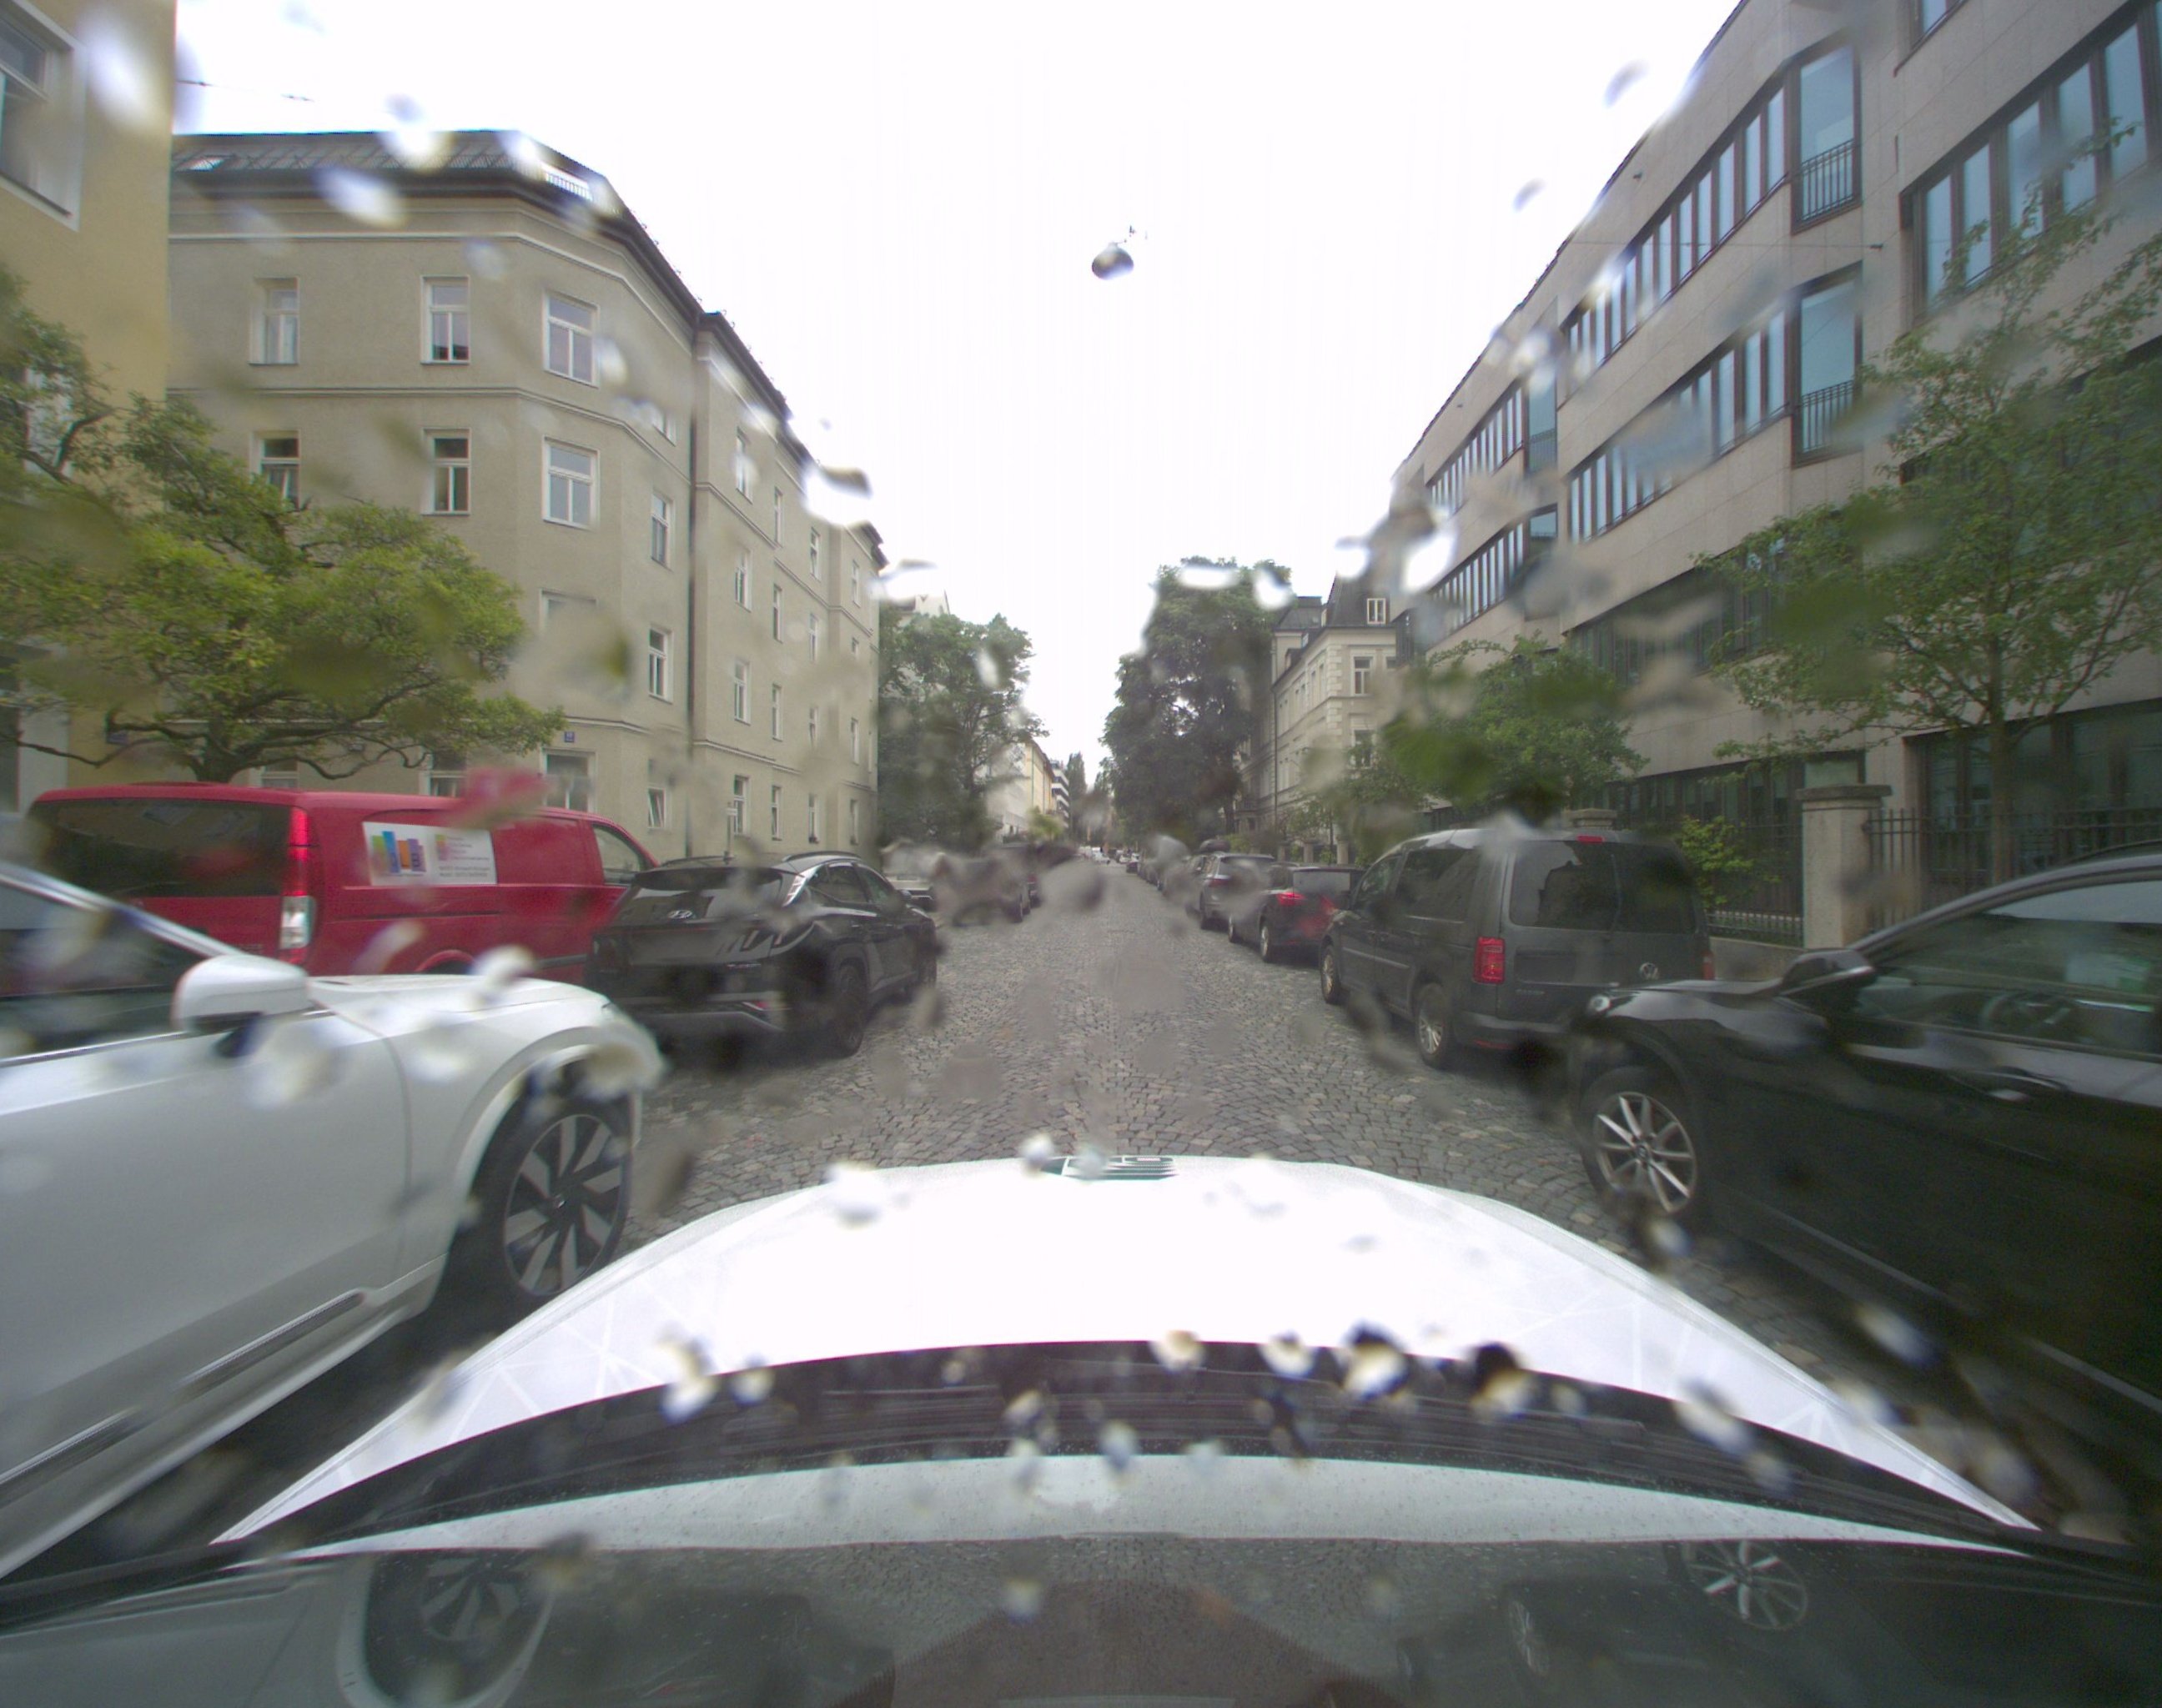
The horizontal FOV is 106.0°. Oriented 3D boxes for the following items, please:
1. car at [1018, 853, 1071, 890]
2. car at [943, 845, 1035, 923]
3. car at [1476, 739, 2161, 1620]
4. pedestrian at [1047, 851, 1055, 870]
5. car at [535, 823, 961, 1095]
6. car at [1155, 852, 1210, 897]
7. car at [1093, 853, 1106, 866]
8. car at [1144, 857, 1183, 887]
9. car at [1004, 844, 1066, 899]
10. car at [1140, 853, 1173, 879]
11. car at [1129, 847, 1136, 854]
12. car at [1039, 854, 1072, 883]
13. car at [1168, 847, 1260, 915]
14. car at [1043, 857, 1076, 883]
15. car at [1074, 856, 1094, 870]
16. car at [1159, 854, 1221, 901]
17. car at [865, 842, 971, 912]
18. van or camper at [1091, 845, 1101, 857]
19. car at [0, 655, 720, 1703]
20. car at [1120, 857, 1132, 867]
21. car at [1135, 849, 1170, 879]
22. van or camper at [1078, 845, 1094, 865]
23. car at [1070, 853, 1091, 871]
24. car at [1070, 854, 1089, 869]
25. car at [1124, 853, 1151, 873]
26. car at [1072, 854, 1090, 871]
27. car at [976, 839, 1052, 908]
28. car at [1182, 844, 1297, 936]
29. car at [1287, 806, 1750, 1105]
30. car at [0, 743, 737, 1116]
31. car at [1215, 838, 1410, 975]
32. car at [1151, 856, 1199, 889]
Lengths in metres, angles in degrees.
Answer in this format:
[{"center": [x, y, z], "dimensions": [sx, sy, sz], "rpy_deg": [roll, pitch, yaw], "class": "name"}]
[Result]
[{"center": [-1.636, 0.768, 38.063], "dimensions": [1.970, 1.561, 5.021], "rpy_deg": [-1, 0, 3], "class": "car"}, {"center": [-2.249, 0.706, 21.029], "dimensions": [1.860, 1.735, 4.402], "rpy_deg": [-2, 0, -1], "class": "car"}, {"center": [3.061, 0.674, 2.063], "dimensions": [1.853, 1.702, 4.815], "rpy_deg": [3, 0, 2], "class": "car"}, {"center": [-3.094, 0.662, 84.148], "dimensions": [0.789, 1.917, 0.759], "rpy_deg": [1, 0, 1], "class": "pedestrian"}, {"center": [-2.628, 0.728, 7.923], "dimensions": [1.910, 1.735, 4.758], "rpy_deg": [-4, 0, 2], "class": "car"}, {"center": [4.214, 0.827, 34.455], "dimensions": [1.866, 1.670, 4.659], "rpy_deg": [3, 0, 2], "class": "car"}, {"center": [2.820, 0.829, 123.718], "dimensions": [1.985, 2.014, 4.002], "rpy_deg": [0, 0, 2], "class": "car"}, {"center": [4.463, 0.936, 44.461], "dimensions": [1.707, 1.472, 4.269], "rpy_deg": [3, 0, 1], "class": "car"}, {"center": [-1.723, 0.642, 32.376], "dimensions": [1.986, 1.917, 5.178], "rpy_deg": [-3, 0, 1], "class": "car"}, {"center": [4.717, 0.743, 51.529], "dimensions": [1.829, 1.490, 4.424], "rpy_deg": [3, 0, 3], "class": "car"}, {"center": [14.878, -0.988, 233.707], "dimensions": [1.985, 2.014, 4.002], "rpy_deg": [1, -1, 2], "class": "car"}, {"center": [-1.326, 0.755, 43.088], "dimensions": [1.657, 1.444, 4.169], "rpy_deg": [-1, 0, -1], "class": "car"}, {"center": [3.837, 0.738, 24.346], "dimensions": [1.867, 1.735, 4.746], "rpy_deg": [4, 0, 0], "class": "car"}, {"center": [-1.286, 0.946, 50.275], "dimensions": [1.777, 1.417, 4.497], "rpy_deg": [-3, 0, 1], "class": "car"}, {"center": [0.406, 1.066, 94.946], "dimensions": [1.864, 1.580, 4.214], "rpy_deg": [2, 0, 5], "class": "car"}, {"center": [3.871, 0.777, 29.482], "dimensions": [1.865, 1.490, 4.621], "rpy_deg": [3, 0, 4], "class": "car"}, {"center": [-4.557, 0.611, 23.558], "dimensions": [1.938, 1.735, 4.658], "rpy_deg": [3, 0, 1], "class": "car"}, {"center": [3.557, -0.697, 194.465], "dimensions": [2.247, 2.742, 5.100], "rpy_deg": [1, 0, 2], "class": "van or camper"}, {"center": [-2.881, 0.580, 1.361], "dimensions": [1.998, 1.809, 5.178], "rpy_deg": [-1, 0, 3], "class": "car"}, {"center": [7.209, 1.253, 130.863], "dimensions": [1.783, 1.520, 4.002], "rpy_deg": [0, 0, 2], "class": "car"}, {"center": [4.940, 0.676, 57.047], "dimensions": [1.867, 1.928, 5.163], "rpy_deg": [3, 0, 0], "class": "car"}, {"center": [0.693, 0.145, 109.900], "dimensions": [1.986, 2.652, 4.002], "rpy_deg": [-2, 0, 2], "class": "van or camper"}, {"center": [-0.068, 0.726, 76.930], "dimensions": [1.867, 1.580, 4.254], "rpy_deg": [-2, 0, 0], "class": "car"}, {"center": [-0.153, 0.776, 83.167], "dimensions": [1.867, 1.451, 4.207], "rpy_deg": [-1, 0, 0], "class": "car"}, {"center": [4.764, 0.747, 69.195], "dimensions": [1.867, 1.503, 4.510], "rpy_deg": [3, 0, 0], "class": "car"}, {"center": [0.008, 0.897, 89.439], "dimensions": [1.867, 1.776, 4.123], "rpy_deg": [-3, 0, 1], "class": "car"}, {"center": [-2.009, 0.573, 25.825], "dimensions": [1.866, 1.917, 4.828], "rpy_deg": [-2, 0, 1], "class": "car"}, {"center": [3.417, 0.725, 18.426], "dimensions": [1.865, 1.735, 4.896], "rpy_deg": [2, 0, 3], "class": "car"}, {"center": [3.392, 0.660, 7.501], "dimensions": [1.782, 1.796, 4.509], "rpy_deg": [4, 0, 0], "class": "car"}, {"center": [-5.144, 0.403, 6.991], "dimensions": [1.987, 1.931, 5.331], "rpy_deg": [2, 0, 1], "class": "car"}, {"center": [3.528, 0.722, 13.401], "dimensions": [1.866, 1.735, 4.659], "rpy_deg": [4, 0, 1], "class": "car"}, {"center": [4.577, 0.879, 40.062], "dimensions": [1.690, 1.440, 4.058], "rpy_deg": [3, 0, -2], "class": "car"}]
